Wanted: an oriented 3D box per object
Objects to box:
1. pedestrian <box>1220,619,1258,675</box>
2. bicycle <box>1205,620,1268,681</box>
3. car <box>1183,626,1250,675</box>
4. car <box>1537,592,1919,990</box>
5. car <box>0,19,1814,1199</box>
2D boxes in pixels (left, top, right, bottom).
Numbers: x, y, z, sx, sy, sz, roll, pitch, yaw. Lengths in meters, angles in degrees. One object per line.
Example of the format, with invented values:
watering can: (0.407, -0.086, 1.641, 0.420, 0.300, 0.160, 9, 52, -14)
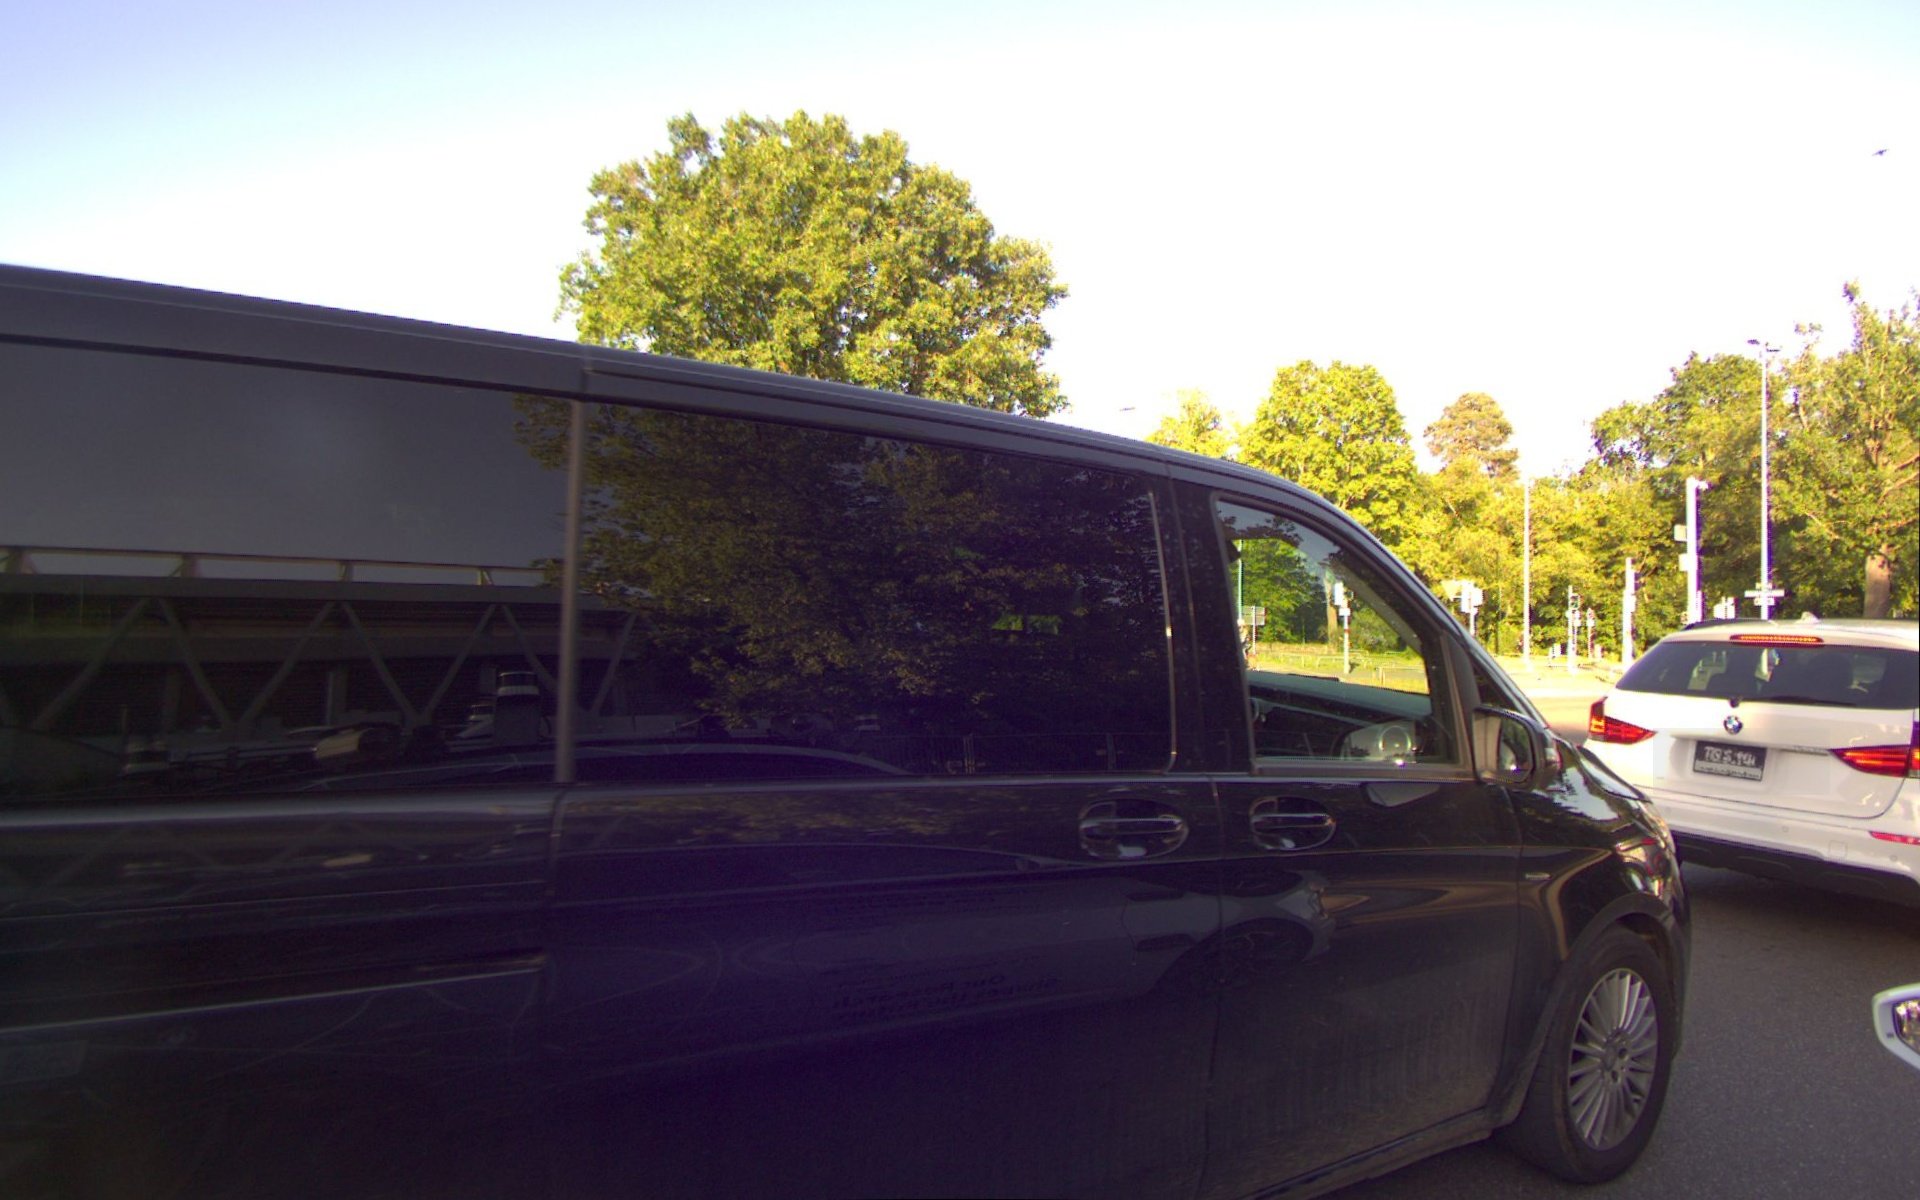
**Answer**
pedestrian: (8.391, 1.411, 30.209, 0.780, 1.647, 0.692, 2, 0, -30)
bicycle: (8.336, 1.530, 30.276, 1.972, 1.773, 0.611, 2, 0, -33)
car: (9.856, 1.899, 38.889, 1.959, 1.639, 4.002, 2, 0, 7)
car: (5.453, 0.840, 5.811, 4.382, 1.602, 1.710, 2, 0, -31)
car: (-0.088, 0.392, 2.518, 4.815, 1.881, 1.898, 0, 1, -30)
